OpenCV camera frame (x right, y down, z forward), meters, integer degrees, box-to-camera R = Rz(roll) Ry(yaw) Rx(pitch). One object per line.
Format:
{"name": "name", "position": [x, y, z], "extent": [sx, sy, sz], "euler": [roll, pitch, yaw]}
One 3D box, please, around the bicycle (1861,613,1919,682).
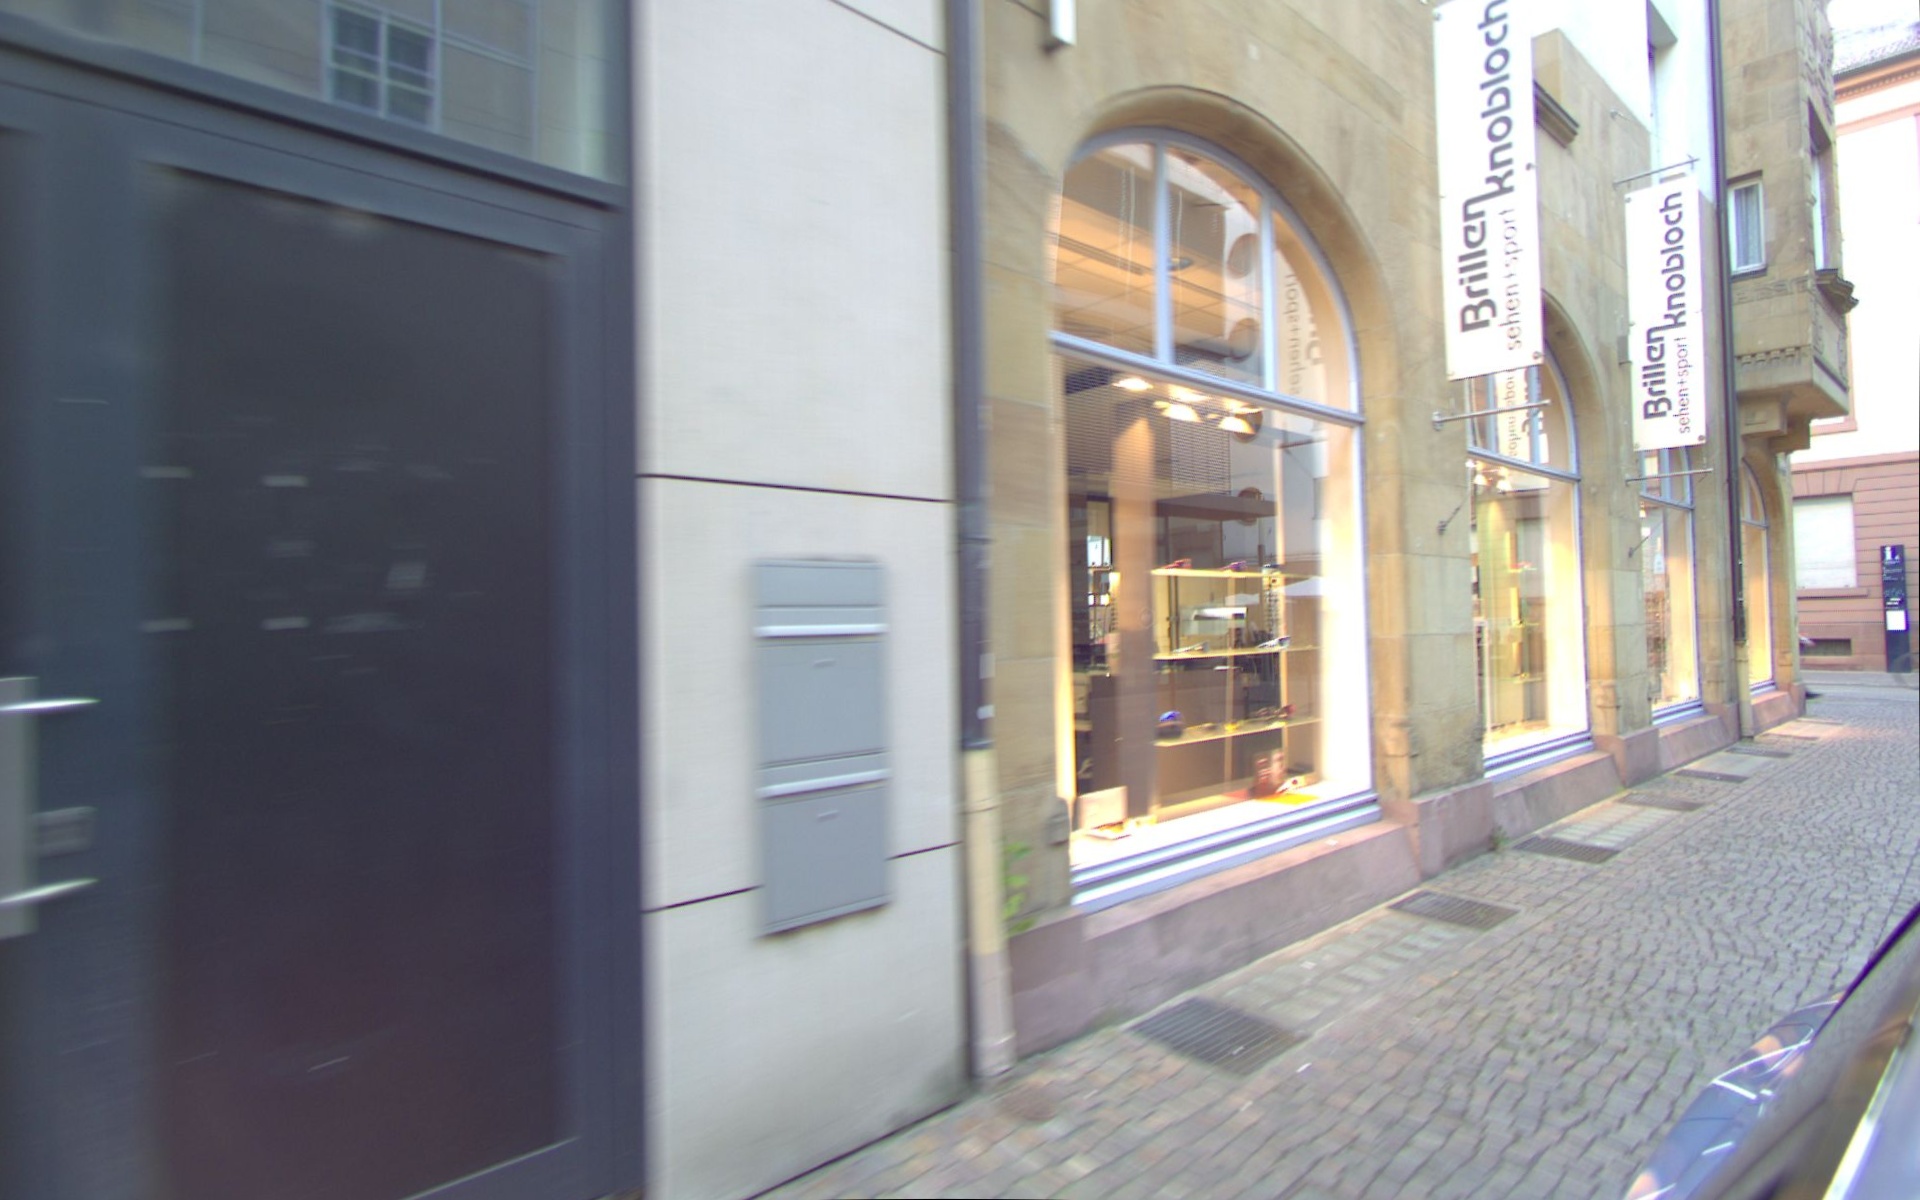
{"name": "bicycle", "position": [18.578, 0.864, 18.443], "extent": [0.908, 1.276, 3.148], "euler": [1, -2, -44]}

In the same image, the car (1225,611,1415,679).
{"name": "car", "position": [8.527, 1.046, 24.233], "extent": [1.621, 1.461, 3.993], "euler": [0, -1, -40]}

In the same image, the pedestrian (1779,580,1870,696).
{"name": "pedestrian", "position": [13.929, 0.601, 16.332], "extent": [0.961, 1.808, 0.731], "euler": [-2, -2, 33]}
